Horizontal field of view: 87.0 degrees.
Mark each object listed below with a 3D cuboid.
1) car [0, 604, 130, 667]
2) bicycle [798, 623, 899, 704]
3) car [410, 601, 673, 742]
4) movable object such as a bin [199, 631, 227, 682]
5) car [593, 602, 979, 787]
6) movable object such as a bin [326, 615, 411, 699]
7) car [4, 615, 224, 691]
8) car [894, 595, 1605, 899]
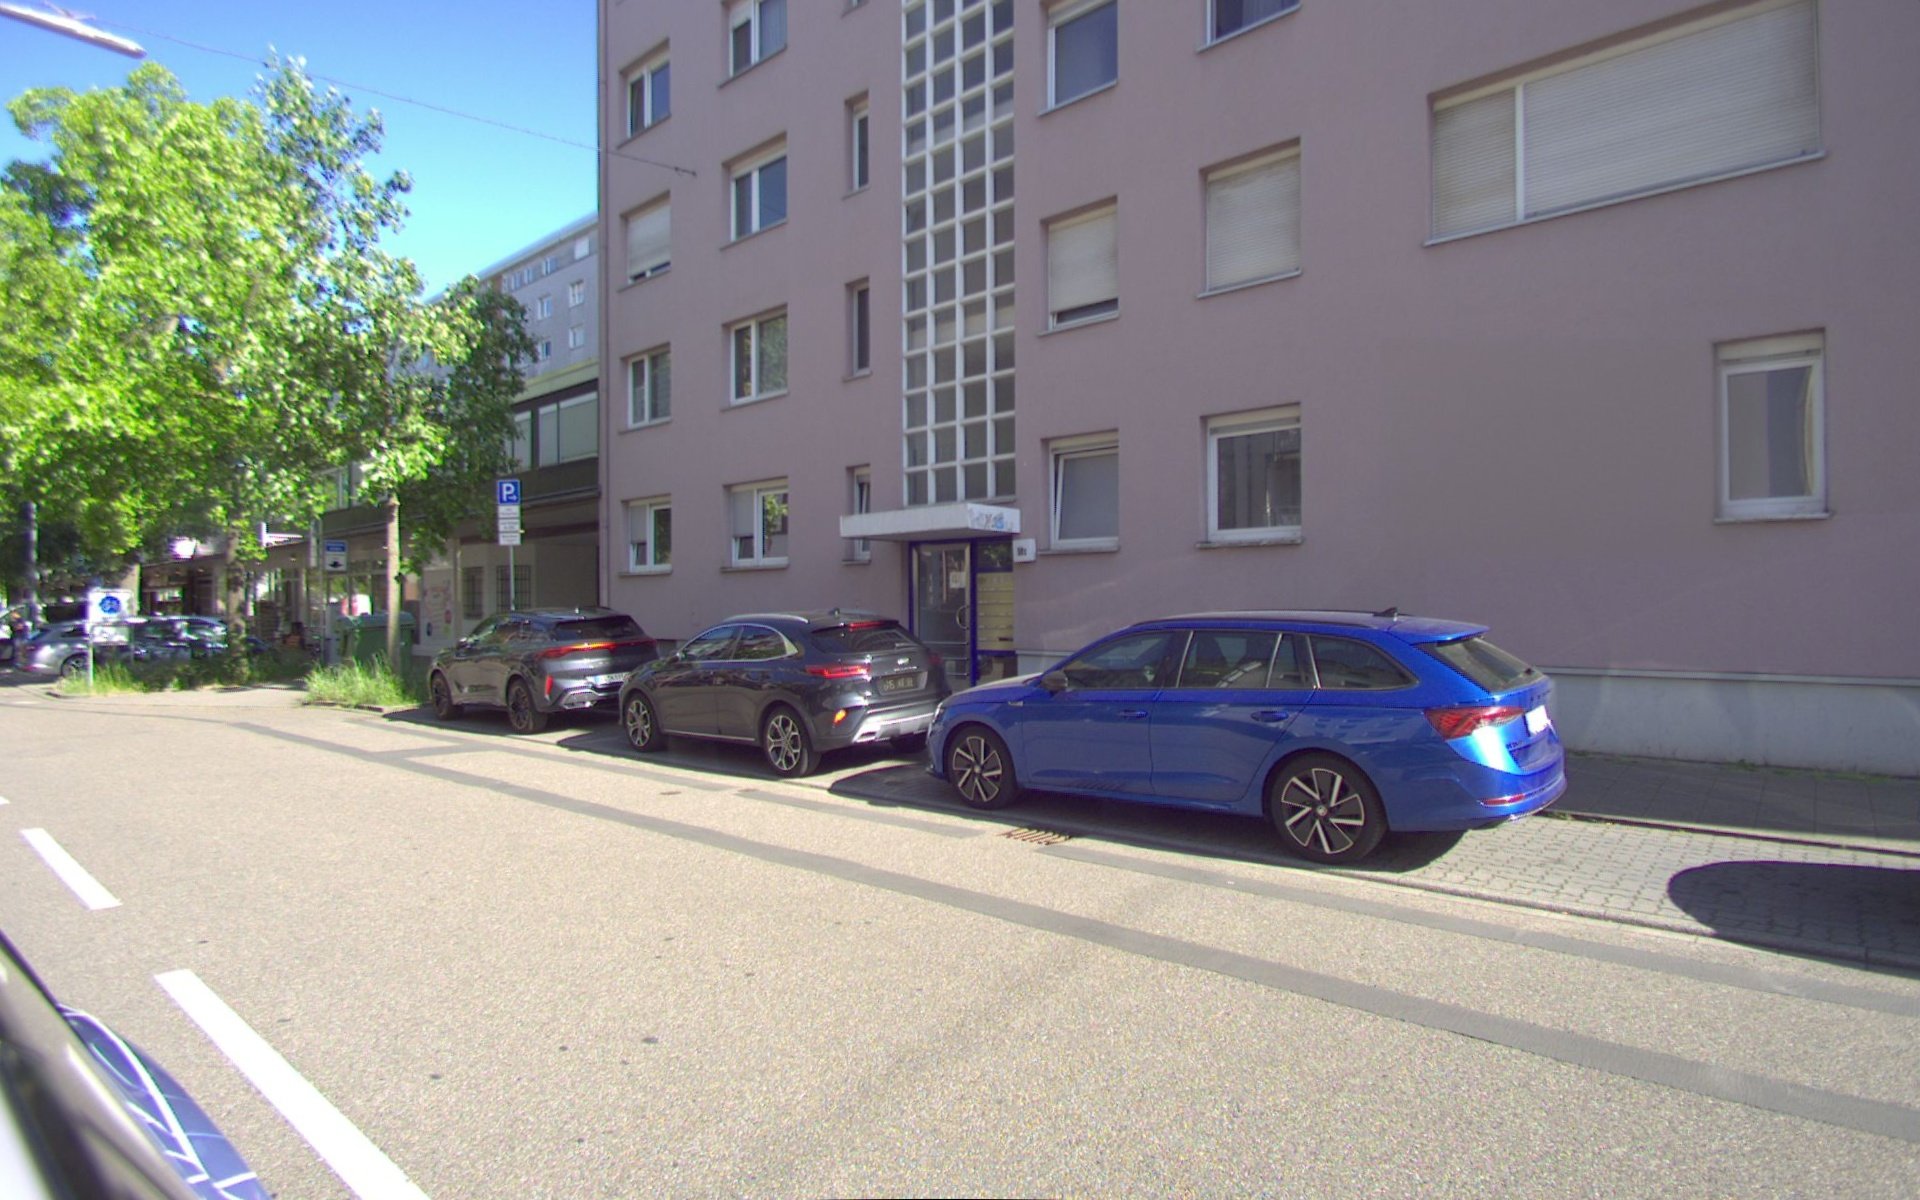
[{"bbox_3d":[-31.230,1.187,34.780,1.999,2.047,3.945,-1,-1,41],"label":"car"},{"bbox_3d":[-1.635,0.899,14.666,1.649,1.084,0.386,-1,3,42],"label":"bicycle"},{"bbox_3d":[-5.999,0.899,14.285,4.141,1.604,1.798,-1,2,43],"label":"car"},{"bbox_3d":[-18.434,1.394,24.977,0.409,1.234,0.482,-1,-1,41],"label":"movable object such as a bin"},{"bbox_3d":[-1.994,0.844,10.754,4.245,1.519,1.798,-1,1,43],"label":"car"},{"bbox_3d":[-11.522,1.073,19.727,1.230,1.557,1.019,0,-1,-44],"label":"movable object such as a bin"},{"bbox_3d":[-20.918,1.240,25.123,1.999,1.687,3.945,-1,-1,41],"label":"car"},{"bbox_3d":[1.782,0.783,7.280,4.610,1.476,1.700,-1,1,41],"label":"car"}]
